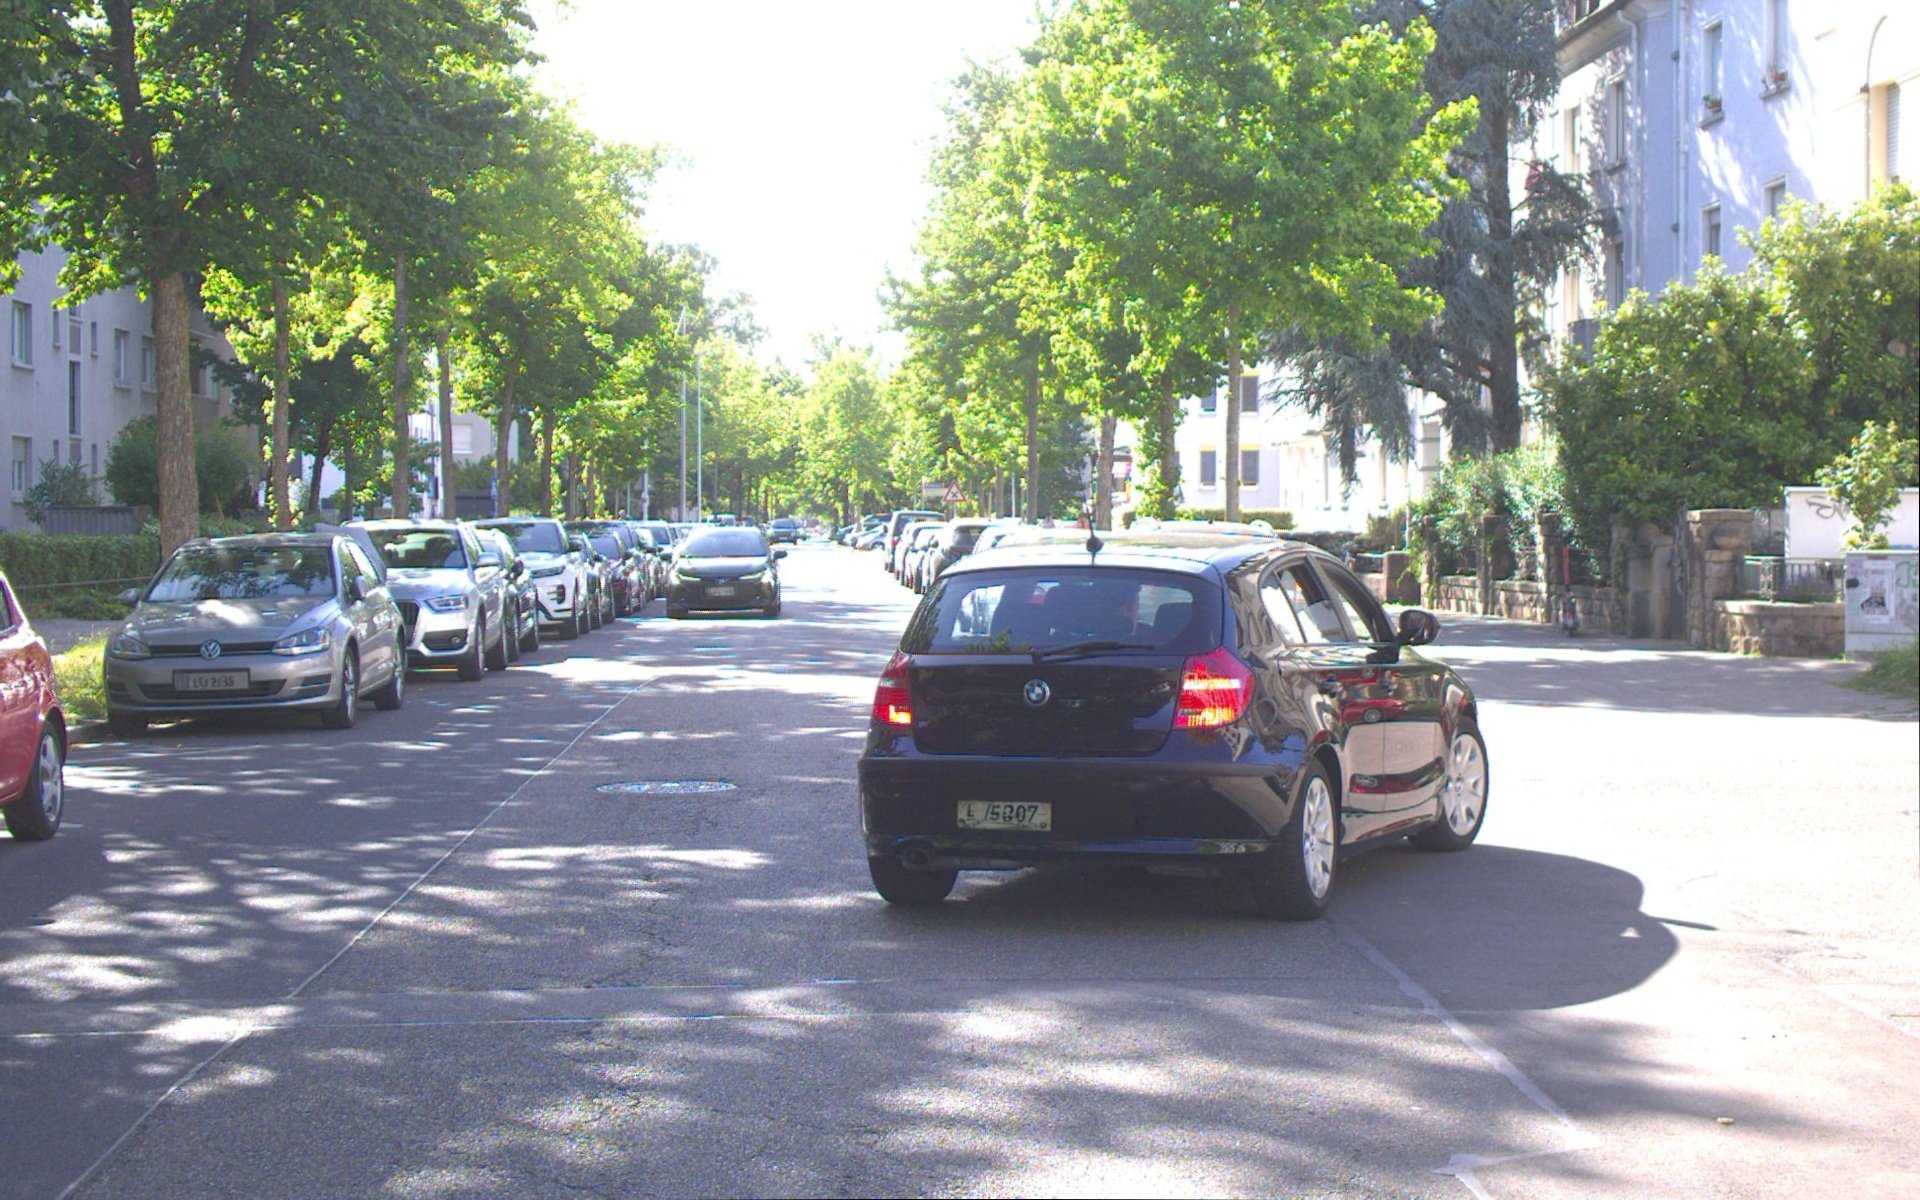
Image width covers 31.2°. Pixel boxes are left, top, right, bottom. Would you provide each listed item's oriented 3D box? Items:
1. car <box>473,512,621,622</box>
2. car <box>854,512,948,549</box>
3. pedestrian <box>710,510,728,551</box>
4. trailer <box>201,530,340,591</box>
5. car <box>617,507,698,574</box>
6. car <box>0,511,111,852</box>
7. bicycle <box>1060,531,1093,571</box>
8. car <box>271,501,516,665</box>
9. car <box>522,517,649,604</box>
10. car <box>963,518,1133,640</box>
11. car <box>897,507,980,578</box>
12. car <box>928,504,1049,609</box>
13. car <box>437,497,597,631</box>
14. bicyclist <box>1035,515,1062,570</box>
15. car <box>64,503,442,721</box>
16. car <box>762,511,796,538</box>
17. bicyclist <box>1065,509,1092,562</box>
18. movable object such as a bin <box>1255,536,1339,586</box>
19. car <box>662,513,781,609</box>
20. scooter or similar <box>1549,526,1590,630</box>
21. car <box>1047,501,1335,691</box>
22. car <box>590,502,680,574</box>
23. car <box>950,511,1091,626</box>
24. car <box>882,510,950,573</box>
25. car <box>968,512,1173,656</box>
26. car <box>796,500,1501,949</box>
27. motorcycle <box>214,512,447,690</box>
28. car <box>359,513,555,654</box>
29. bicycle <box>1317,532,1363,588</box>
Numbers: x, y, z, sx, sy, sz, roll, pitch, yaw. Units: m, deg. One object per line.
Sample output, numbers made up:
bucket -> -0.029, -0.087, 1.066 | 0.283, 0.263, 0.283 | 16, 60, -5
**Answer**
car -> -6.109, -0.526, 51.317 | 1.728, 1.472, 4.620 | -3, 2, -2
car -> -2.602, -3.046, 150.774 | 3.986, 1.581, 1.727 | 0, 2, -6
pedestrian -> -11.061, -3.181, 157.547 | 0.715, 1.894, 0.837 | 0, 1, -12
trailer -> -12.079, -0.709, 60.365 | 1.789, 1.030, 3.281 | 0, 1, 0
car -> -7.390, -1.468, 84.226 | 1.710, 1.539, 3.931 | -2, 1, -2
car -> -5.072, 0.347, 14.945 | 1.856, 1.464, 4.183 | 0, 2, -2
bicycle -> 3.440, -1.462, 101.595 | 0.683, 1.149, 2.404 | 0, 1, -5
car -> -5.556, -0.223, 34.234 | 2.063, 1.519, 4.723 | 0, 2, -5
car -> -6.303, -0.696, 58.234 | 1.779, 1.374, 4.263 | -2, 1, -2
car -> 1.068, -0.309, 43.995 | 1.710, 1.406, 4.862 | 2, 1, -4
car -> -0.588, -1.521, 88.987 | 1.907, 1.693, 4.314 | 3, 1, -2
car -> 0.444, -0.790, 59.287 | 1.925, 1.646, 5.095 | 2, 2, -1
car -> -5.869, -0.511, 45.979 | 1.728, 1.612, 4.367 | -3, 2, -3
bicyclist -> 2.598, -1.688, 101.194 | 0.677, 1.604, 0.922 | 0, 1, -5
car -> -5.304, 0.022, 26.408 | 2.042, 1.519, 4.607 | 0, 2, -1
car -> -10.805, -4.533, 205.459 | 1.782, 1.603, 4.001 | 0, 1, -6
bicyclist -> 3.481, -1.901, 101.150 | 0.676, 1.548, 1.022 | 0, 1, -5
movable object such as a bin -> 6.303, -0.745, 64.313 | 1.222, 0.901, 1.663 | 1, 2, 18
car -> -3.801, -0.651, 55.206 | 1.808, 1.440, 4.367 | -1, 1, -3
scooter or similar -> 7.148, -0.266, 40.307 | 0.402, 1.181, 1.205 | 0, 2, 13
car -> 1.948, -0.064, 30.456 | 1.895, 1.519, 4.968 | 1, 1, -4
car -> -7.342, -1.422, 77.980 | 1.811, 1.590, 4.234 | 0, 1, -3
car -> 0.833, -0.489, 49.716 | 1.654, 1.527, 3.970 | 3, 1, -4
car -> -1.420, -1.871, 109.298 | 1.970, 1.942, 4.986 | 0, 1, -3
car -> 1.185, -0.232, 39.007 | 1.821, 1.464, 4.910 | 2, 1, -4
car -> 0.924, 0.368, 13.837 | 1.784, 1.518, 3.996 | 0, 2, 19
motorcycle -> -5.555, -0.017, 30.258 | 0.987, 1.498, 2.233 | -2, 2, -42
car -> -5.700, -0.240, 39.420 | 1.728, 1.442, 4.822 | -2, 2, -3
bicycle -> 6.719, -0.716, 60.815 | 0.581, 0.971, 1.904 | 0, 1, -1
